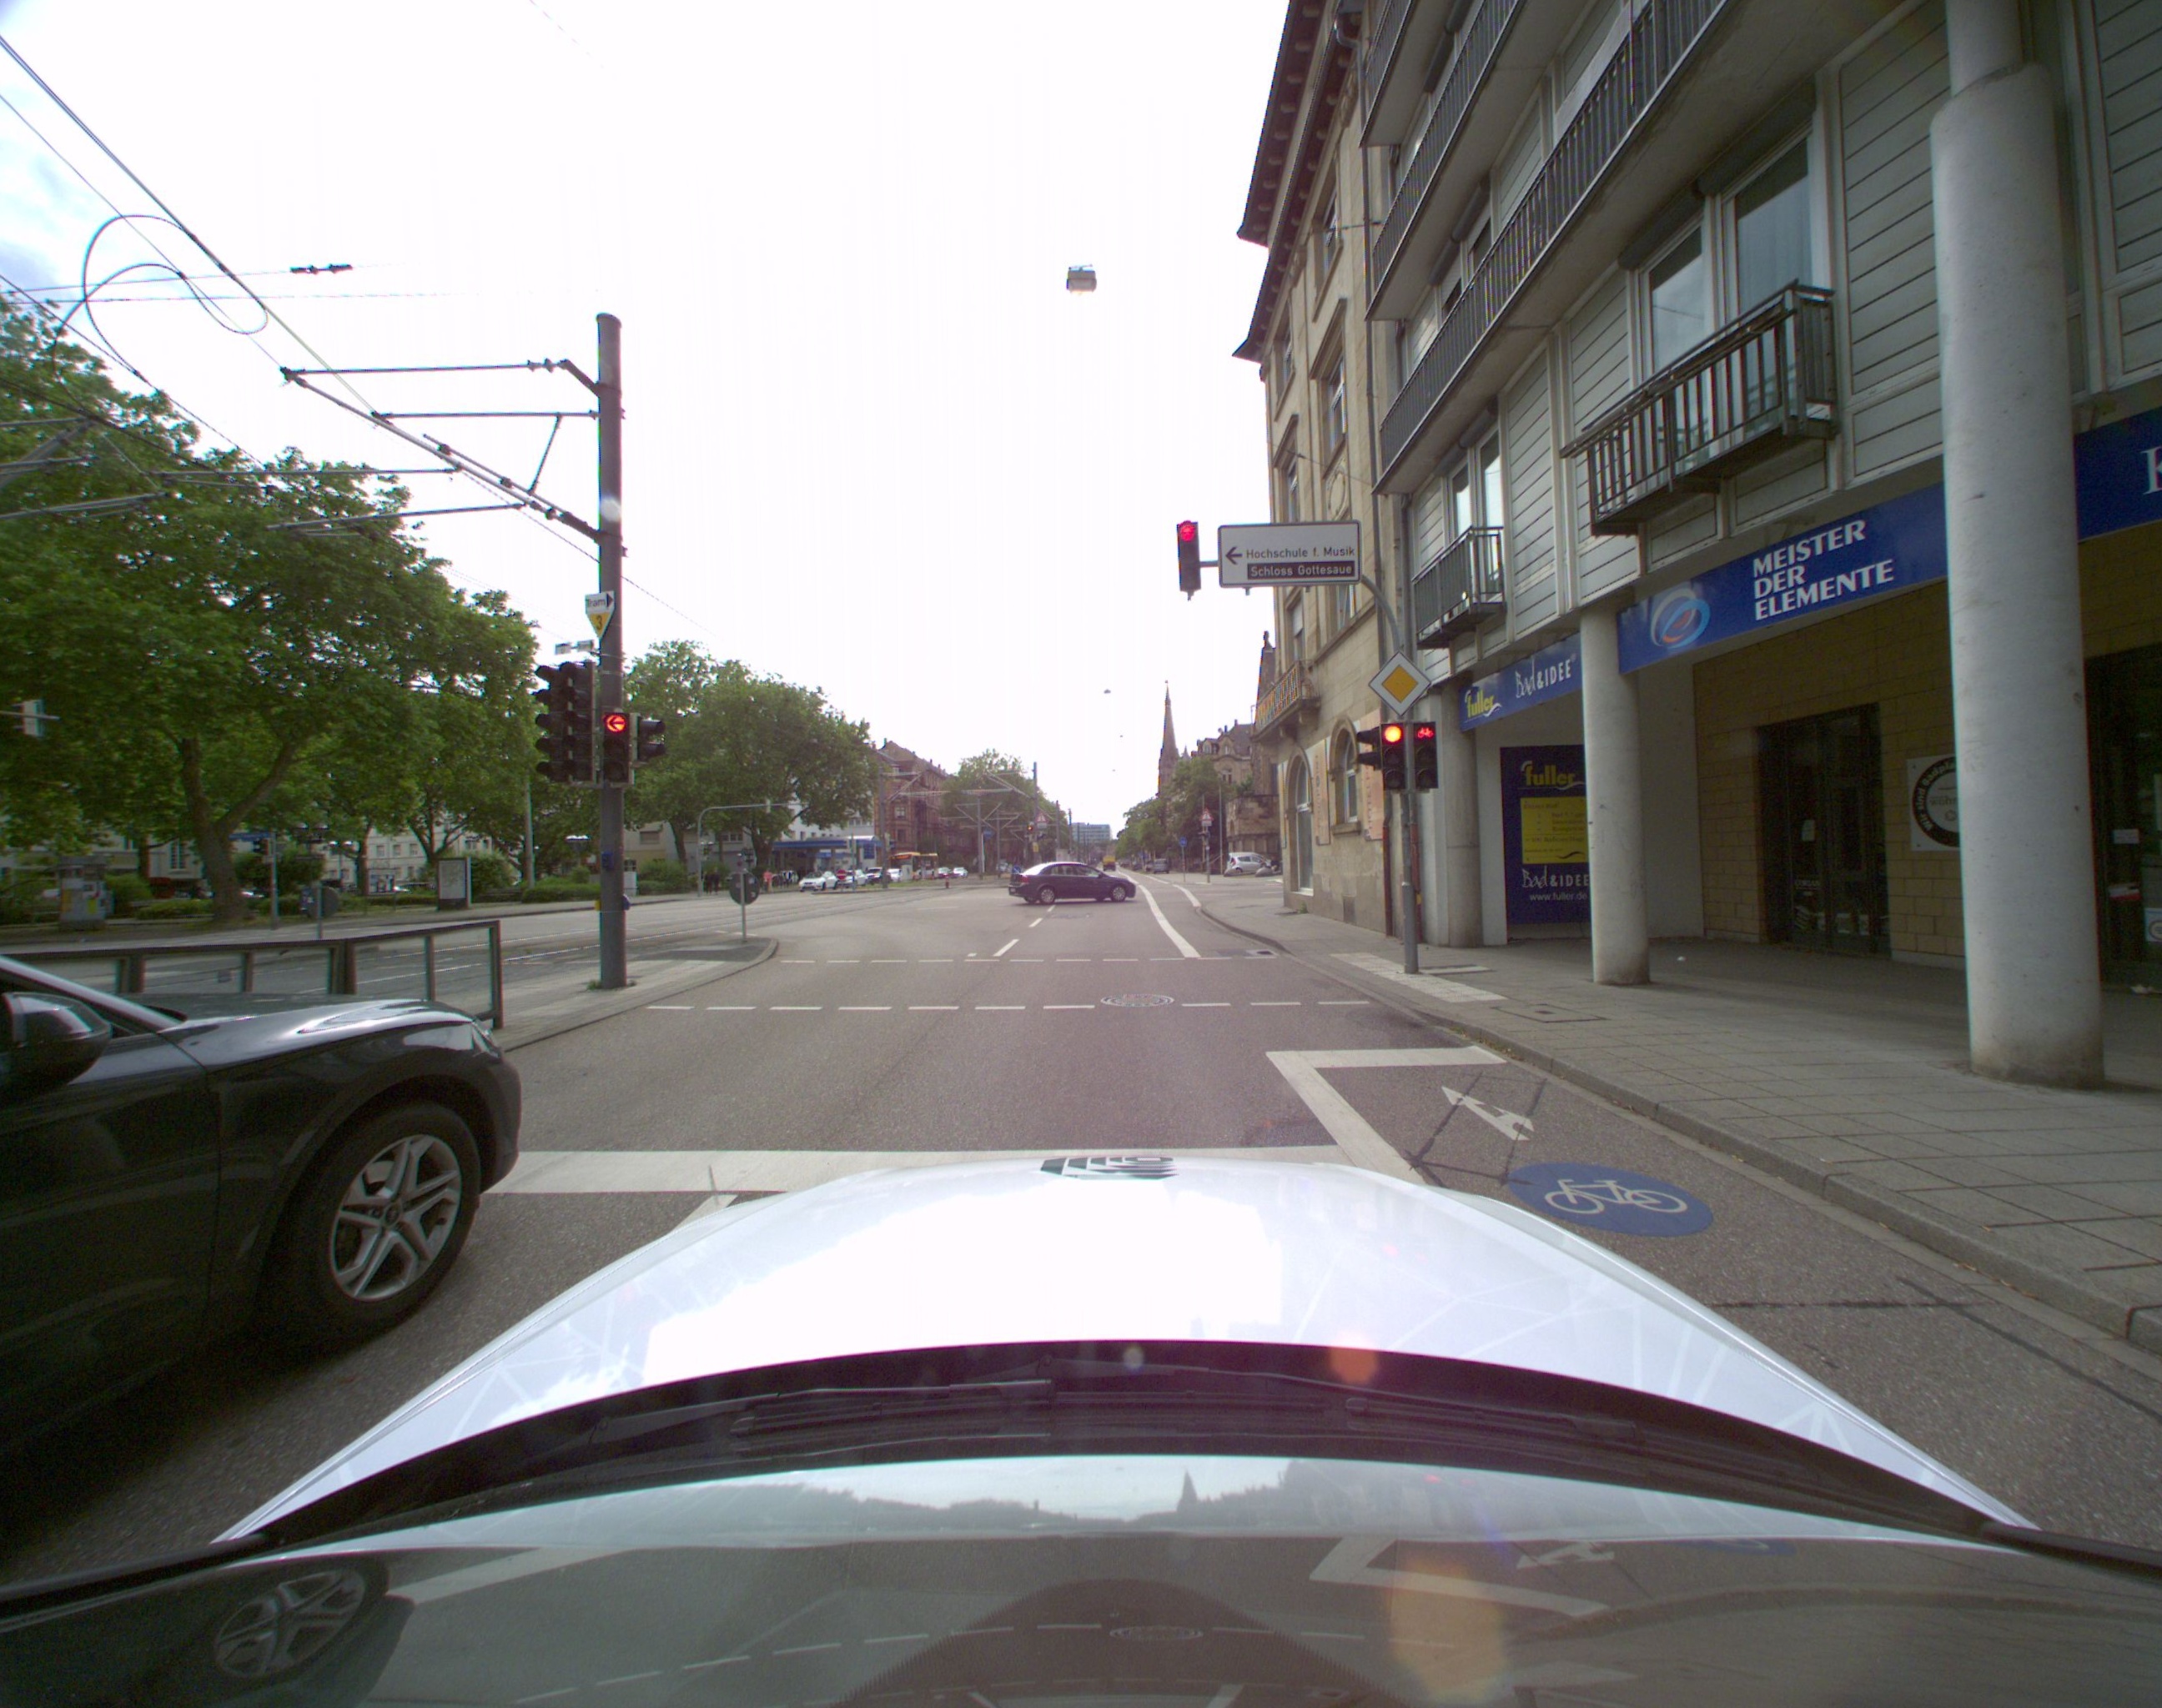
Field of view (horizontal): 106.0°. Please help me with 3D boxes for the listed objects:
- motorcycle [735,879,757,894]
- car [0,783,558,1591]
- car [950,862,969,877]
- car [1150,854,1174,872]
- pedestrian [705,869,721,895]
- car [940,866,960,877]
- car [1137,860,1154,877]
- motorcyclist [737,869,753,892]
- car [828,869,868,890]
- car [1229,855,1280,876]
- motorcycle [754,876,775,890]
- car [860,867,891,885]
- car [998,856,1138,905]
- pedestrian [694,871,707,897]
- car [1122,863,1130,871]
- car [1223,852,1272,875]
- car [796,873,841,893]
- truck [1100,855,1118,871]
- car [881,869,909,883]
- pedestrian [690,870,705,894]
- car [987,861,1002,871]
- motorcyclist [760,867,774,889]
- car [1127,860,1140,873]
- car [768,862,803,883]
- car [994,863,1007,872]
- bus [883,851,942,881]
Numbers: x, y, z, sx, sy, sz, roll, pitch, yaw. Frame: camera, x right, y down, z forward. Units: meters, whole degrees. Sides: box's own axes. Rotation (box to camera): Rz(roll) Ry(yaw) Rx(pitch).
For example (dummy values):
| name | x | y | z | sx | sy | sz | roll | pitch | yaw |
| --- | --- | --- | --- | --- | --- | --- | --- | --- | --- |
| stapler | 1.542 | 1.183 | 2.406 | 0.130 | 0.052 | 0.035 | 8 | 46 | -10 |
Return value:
| name | x | y | z | sx | sy | sz | roll | pitch | yaw |
| --- | --- | --- | --- | --- | --- | --- | --- | --- | --- |
| motorcycle | -22.674 | 2.185 | 55.161 | 0.604 | 0.928 | 1.953 | -2 | -1 | 2 |
| car | -3.073 | 0.677 | 1.232 | 1.727 | 1.637 | 4.228 | 0 | -1 | 2 |
| car | -16.692 | 2.086 | 111.960 | 1.986 | 2.014 | 4.001 | 0 | -1 | 2 |
| car | 8.972 | 0.997 | 89.953 | 1.979 | 1.855 | 4.042 | -1 | -1 | 14 |
| pedestrian | -24.563 | 1.875 | 54.415 | 0.878 | 1.713 | 0.866 | -1 | -1 | -30 |
| car | -16.503 | 2.200 | 102.772 | 1.649 | 1.321 | 3.641 | 0 | -1 | 3 |
| car | 7.887 | 1.707 | 99.558 | 1.985 | 2.014 | 4.004 | 0 | -1 | 4 |
| motorcyclist | -22.689 | 1.814 | 54.993 | 0.617 | 1.520 | 0.874 | -2 | -1 | 2 |
| car | -18.846 | 2.063 | 66.079 | 1.986 | 1.594 | 4.001 | 0 | -1 | 2 |
| car | 13.749 | 0.914 | 64.801 | 3.699 | 1.563 | 2.001 | 0 | -1 | 2 |
| motorcycle | -21.646 | 1.964 | 55.717 | 0.604 | 0.928 | 1.953 | -2 | -1 | 2 |
| car | -18.331 | 1.937 | 72.722 | 1.649 | 1.478 | 3.641 | 0 | -1 | 3 |
| car | -0.466 | 0.905 | 28.958 | 4.541 | 1.563 | 1.985 | -1 | 0 | -23 |
| pedestrian | -25.200 | 1.962 | 53.938 | 0.693 | 1.713 | 0.861 | -1 | -1 | -30 |
| car | 11.915 | 3.390 | 216.788 | 1.986 | 2.014 | 4.001 | 0 | -1 | 2 |
| car | 13.925 | 0.797 | 68.239 | 3.699 | 1.855 | 2.001 | 0 | -1 | 2 |
| car | -19.165 | 2.083 | 59.576 | 1.739 | 1.321 | 4.079 | 0 | -1 | 4 |
| truck | 5.175 | 1.624 | 151.358 | 3.042 | 2.769 | 9.823 | -2 | 0 | 3 |
| car | -18.160 | 2.108 | 79.643 | 1.649 | 1.321 | 3.641 | 0 | -1 | 3 |
| pedestrian | -26.934 | 1.975 | 57.221 | 0.680 | 1.690 | 0.743 | 0 | -1 | 6 |
| car | -15.052 | 2.076 | 142.094 | 1.986 | 1.610 | 4.001 | 0 | -1 | 2 |
| motorcyclist | -21.606 | 1.660 | 56.052 | 0.617 | 1.520 | 0.874 | -2 | -1 | 2 |
| car | 8.689 | 2.066 | 135.981 | 1.986 | 2.014 | 4.001 | 0 | -1 | 2 |
| car | -29.769 | 1.820 | 82.152 | 1.986 | 2.014 | 4.001 | -2 | -1 | 2 |
| car | -14.792 | 2.458 | 149.903 | 1.986 | 1.610 | 4.001 | 0 | -1 | 2 |
| bus | -18.300 | 1.308 | 89.720 | 3.217 | 3.035 | 12.323 | 0 | 0 | 4 |
